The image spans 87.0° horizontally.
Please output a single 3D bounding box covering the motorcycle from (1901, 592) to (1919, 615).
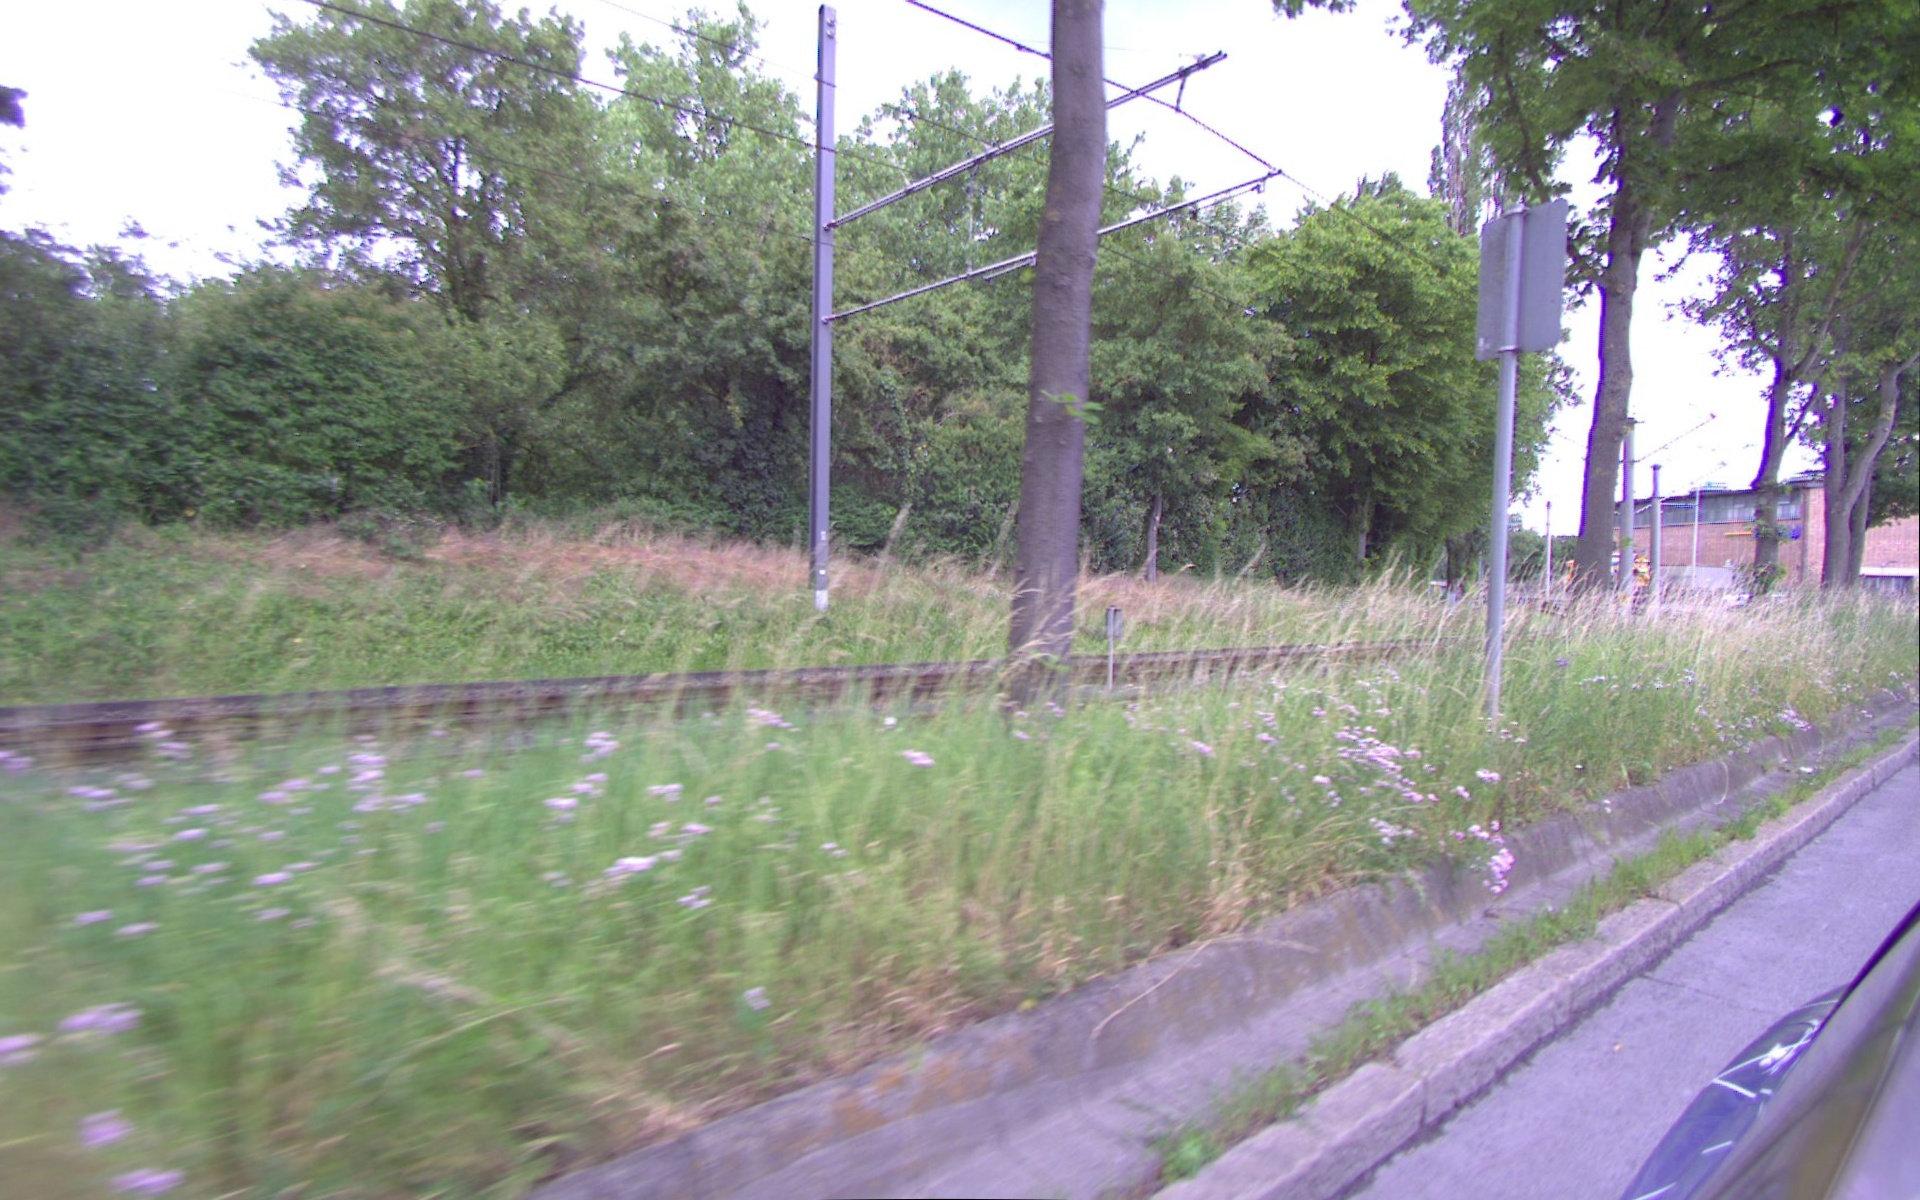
[{"bbox_3d":[45.467,0.153,47.907,0.676,1.074,1.709,1,1,19],"label":"motorcycle"}]

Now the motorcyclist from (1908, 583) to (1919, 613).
[{"bbox_3d":[45.388,-0.091,47.754,0.613,1.373,0.835,1,1,20],"label":"motorcyclist"}]

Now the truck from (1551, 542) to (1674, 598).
[{"bbox_3d":[50.356,-2.206,78.578,2.625,3.988,10.142,-1,0,-2],"label":"truck"}]

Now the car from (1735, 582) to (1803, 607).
[{"bbox_3d":[49.223,-0.347,61.641,1.725,1.506,3.642,0,0,12],"label":"car"}]
